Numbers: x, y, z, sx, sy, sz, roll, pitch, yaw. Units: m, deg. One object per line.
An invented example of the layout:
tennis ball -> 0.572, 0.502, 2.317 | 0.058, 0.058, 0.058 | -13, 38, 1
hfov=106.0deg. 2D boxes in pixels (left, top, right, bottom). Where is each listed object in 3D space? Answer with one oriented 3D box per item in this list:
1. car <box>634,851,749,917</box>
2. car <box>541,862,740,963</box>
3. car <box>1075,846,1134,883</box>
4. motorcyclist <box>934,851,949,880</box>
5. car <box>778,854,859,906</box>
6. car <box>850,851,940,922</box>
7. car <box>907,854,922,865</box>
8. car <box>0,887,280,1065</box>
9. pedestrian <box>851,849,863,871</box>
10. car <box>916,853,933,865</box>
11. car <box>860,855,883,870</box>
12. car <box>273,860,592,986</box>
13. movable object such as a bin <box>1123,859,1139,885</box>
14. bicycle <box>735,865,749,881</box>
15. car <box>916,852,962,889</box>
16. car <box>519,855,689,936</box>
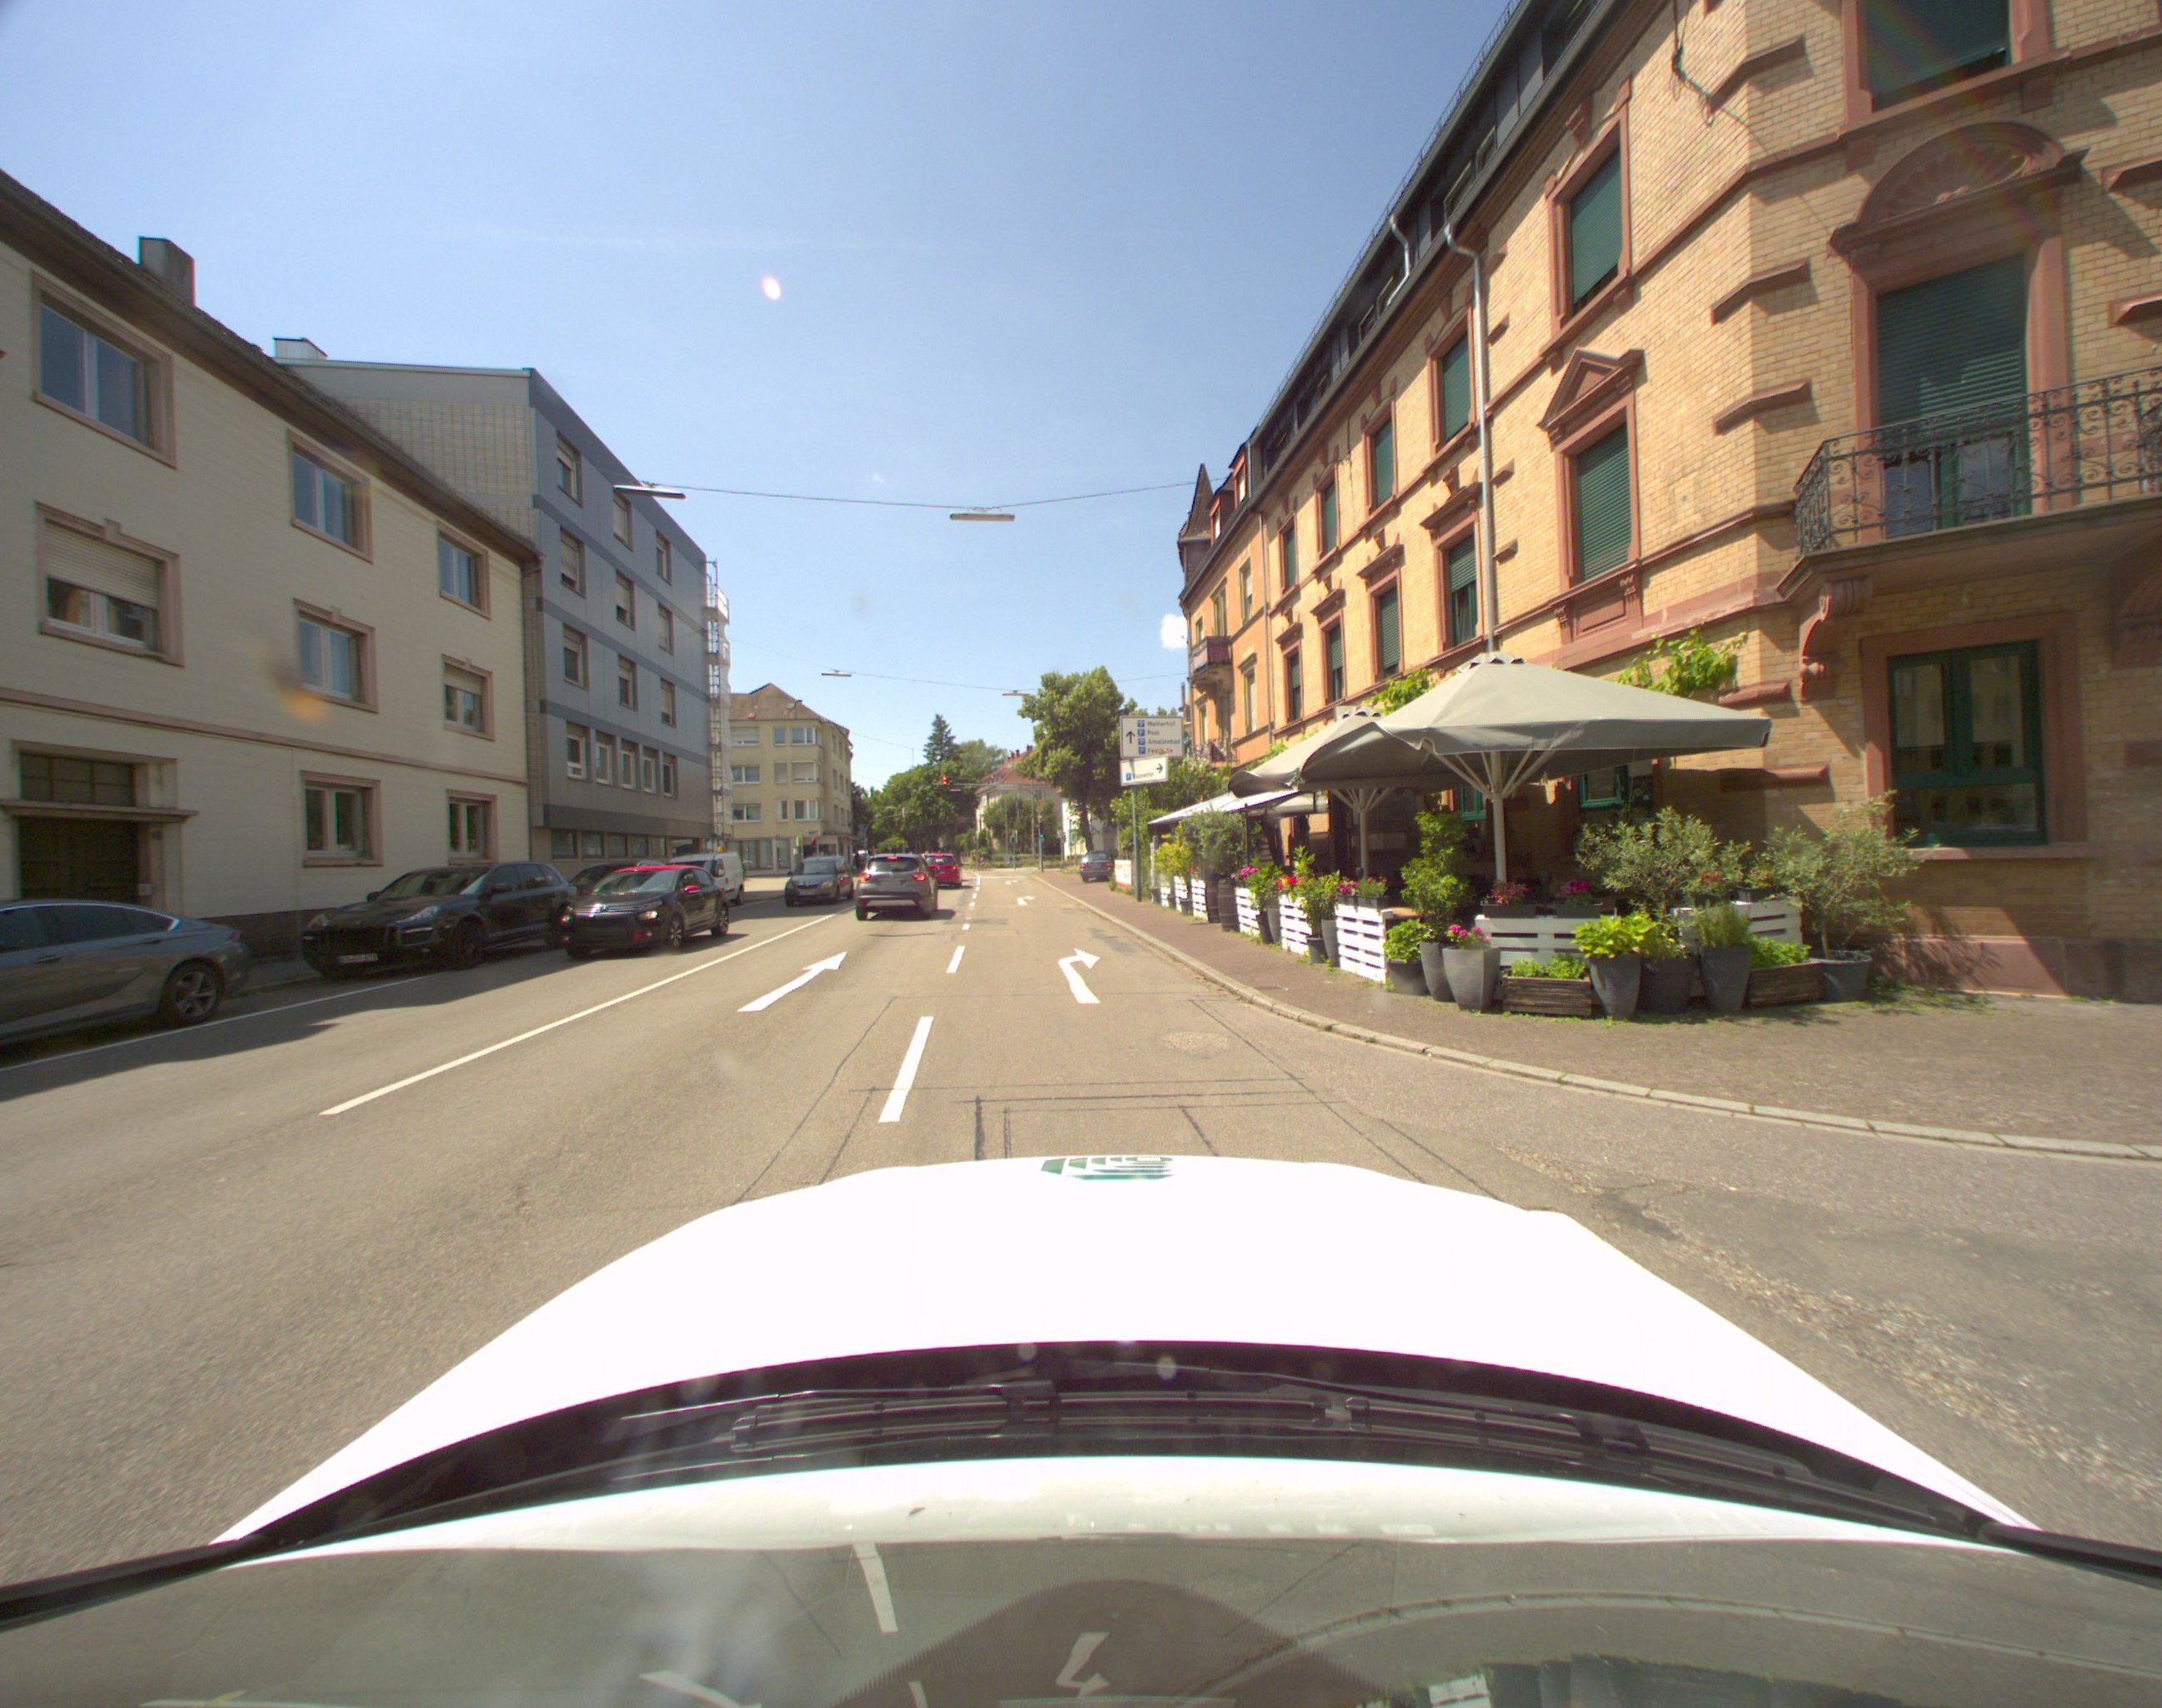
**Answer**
car -> -12.341, 0.880, 26.183 | 1.913, 1.825, 4.775 | -3, 0, -8
car -> -7.804, 0.934, 14.904 | 1.700, 1.478, 4.124 | -2, 0, -6
car -> 1.237, 0.480, 40.054 | 1.821, 1.548, 5.176 | -2, 1, 13
motorcyclist -> -7.213, 0.576, 42.028 | 0.710, 1.445, 1.016 | -1, 0, -8
car -> -8.777, 0.812, 27.554 | 1.700, 1.574, 4.302 | -2, 0, -6
car -> -4.639, 0.744, 20.855 | 1.751, 1.632, 3.992 | -1, 0, -6
car -> -28.890, 0.933, 141.048 | 2.000, 1.906, 3.974 | -1, 0, -19
car -> -10.020, 1.143, 7.045 | 1.865, 1.406, 4.822 | -5, 0, -9
pedestrian -> -20.699, 0.561, 75.283 | 0.938, 1.931, 0.971 | -1, 0, -19
car -> -24.636, 0.804, 128.346 | 2.000, 1.807, 3.974 | -1, 0, -19
car -> -22.663, 0.910, 87.972 | 2.000, 1.519, 3.972 | 0, -1, -20
car -> -10.555, 0.986, 13.872 | 1.883, 1.641, 4.807 | -3, 0, -6
movable object such as a bin -> 2.137, 0.774, 35.051 | 0.646, 1.071, 0.637 | -1, 0, 3
bicycle -> -21.139, 1.187, 50.813 | 0.397, 0.967, 1.777 | -1, 0, -11
car -> -6.427, 0.723, 37.269 | 1.797, 1.558, 4.028 | -1, 0, -7
car -> -11.385, 0.907, 19.878 | 1.884, 1.641, 4.649 | -3, 0, -8
